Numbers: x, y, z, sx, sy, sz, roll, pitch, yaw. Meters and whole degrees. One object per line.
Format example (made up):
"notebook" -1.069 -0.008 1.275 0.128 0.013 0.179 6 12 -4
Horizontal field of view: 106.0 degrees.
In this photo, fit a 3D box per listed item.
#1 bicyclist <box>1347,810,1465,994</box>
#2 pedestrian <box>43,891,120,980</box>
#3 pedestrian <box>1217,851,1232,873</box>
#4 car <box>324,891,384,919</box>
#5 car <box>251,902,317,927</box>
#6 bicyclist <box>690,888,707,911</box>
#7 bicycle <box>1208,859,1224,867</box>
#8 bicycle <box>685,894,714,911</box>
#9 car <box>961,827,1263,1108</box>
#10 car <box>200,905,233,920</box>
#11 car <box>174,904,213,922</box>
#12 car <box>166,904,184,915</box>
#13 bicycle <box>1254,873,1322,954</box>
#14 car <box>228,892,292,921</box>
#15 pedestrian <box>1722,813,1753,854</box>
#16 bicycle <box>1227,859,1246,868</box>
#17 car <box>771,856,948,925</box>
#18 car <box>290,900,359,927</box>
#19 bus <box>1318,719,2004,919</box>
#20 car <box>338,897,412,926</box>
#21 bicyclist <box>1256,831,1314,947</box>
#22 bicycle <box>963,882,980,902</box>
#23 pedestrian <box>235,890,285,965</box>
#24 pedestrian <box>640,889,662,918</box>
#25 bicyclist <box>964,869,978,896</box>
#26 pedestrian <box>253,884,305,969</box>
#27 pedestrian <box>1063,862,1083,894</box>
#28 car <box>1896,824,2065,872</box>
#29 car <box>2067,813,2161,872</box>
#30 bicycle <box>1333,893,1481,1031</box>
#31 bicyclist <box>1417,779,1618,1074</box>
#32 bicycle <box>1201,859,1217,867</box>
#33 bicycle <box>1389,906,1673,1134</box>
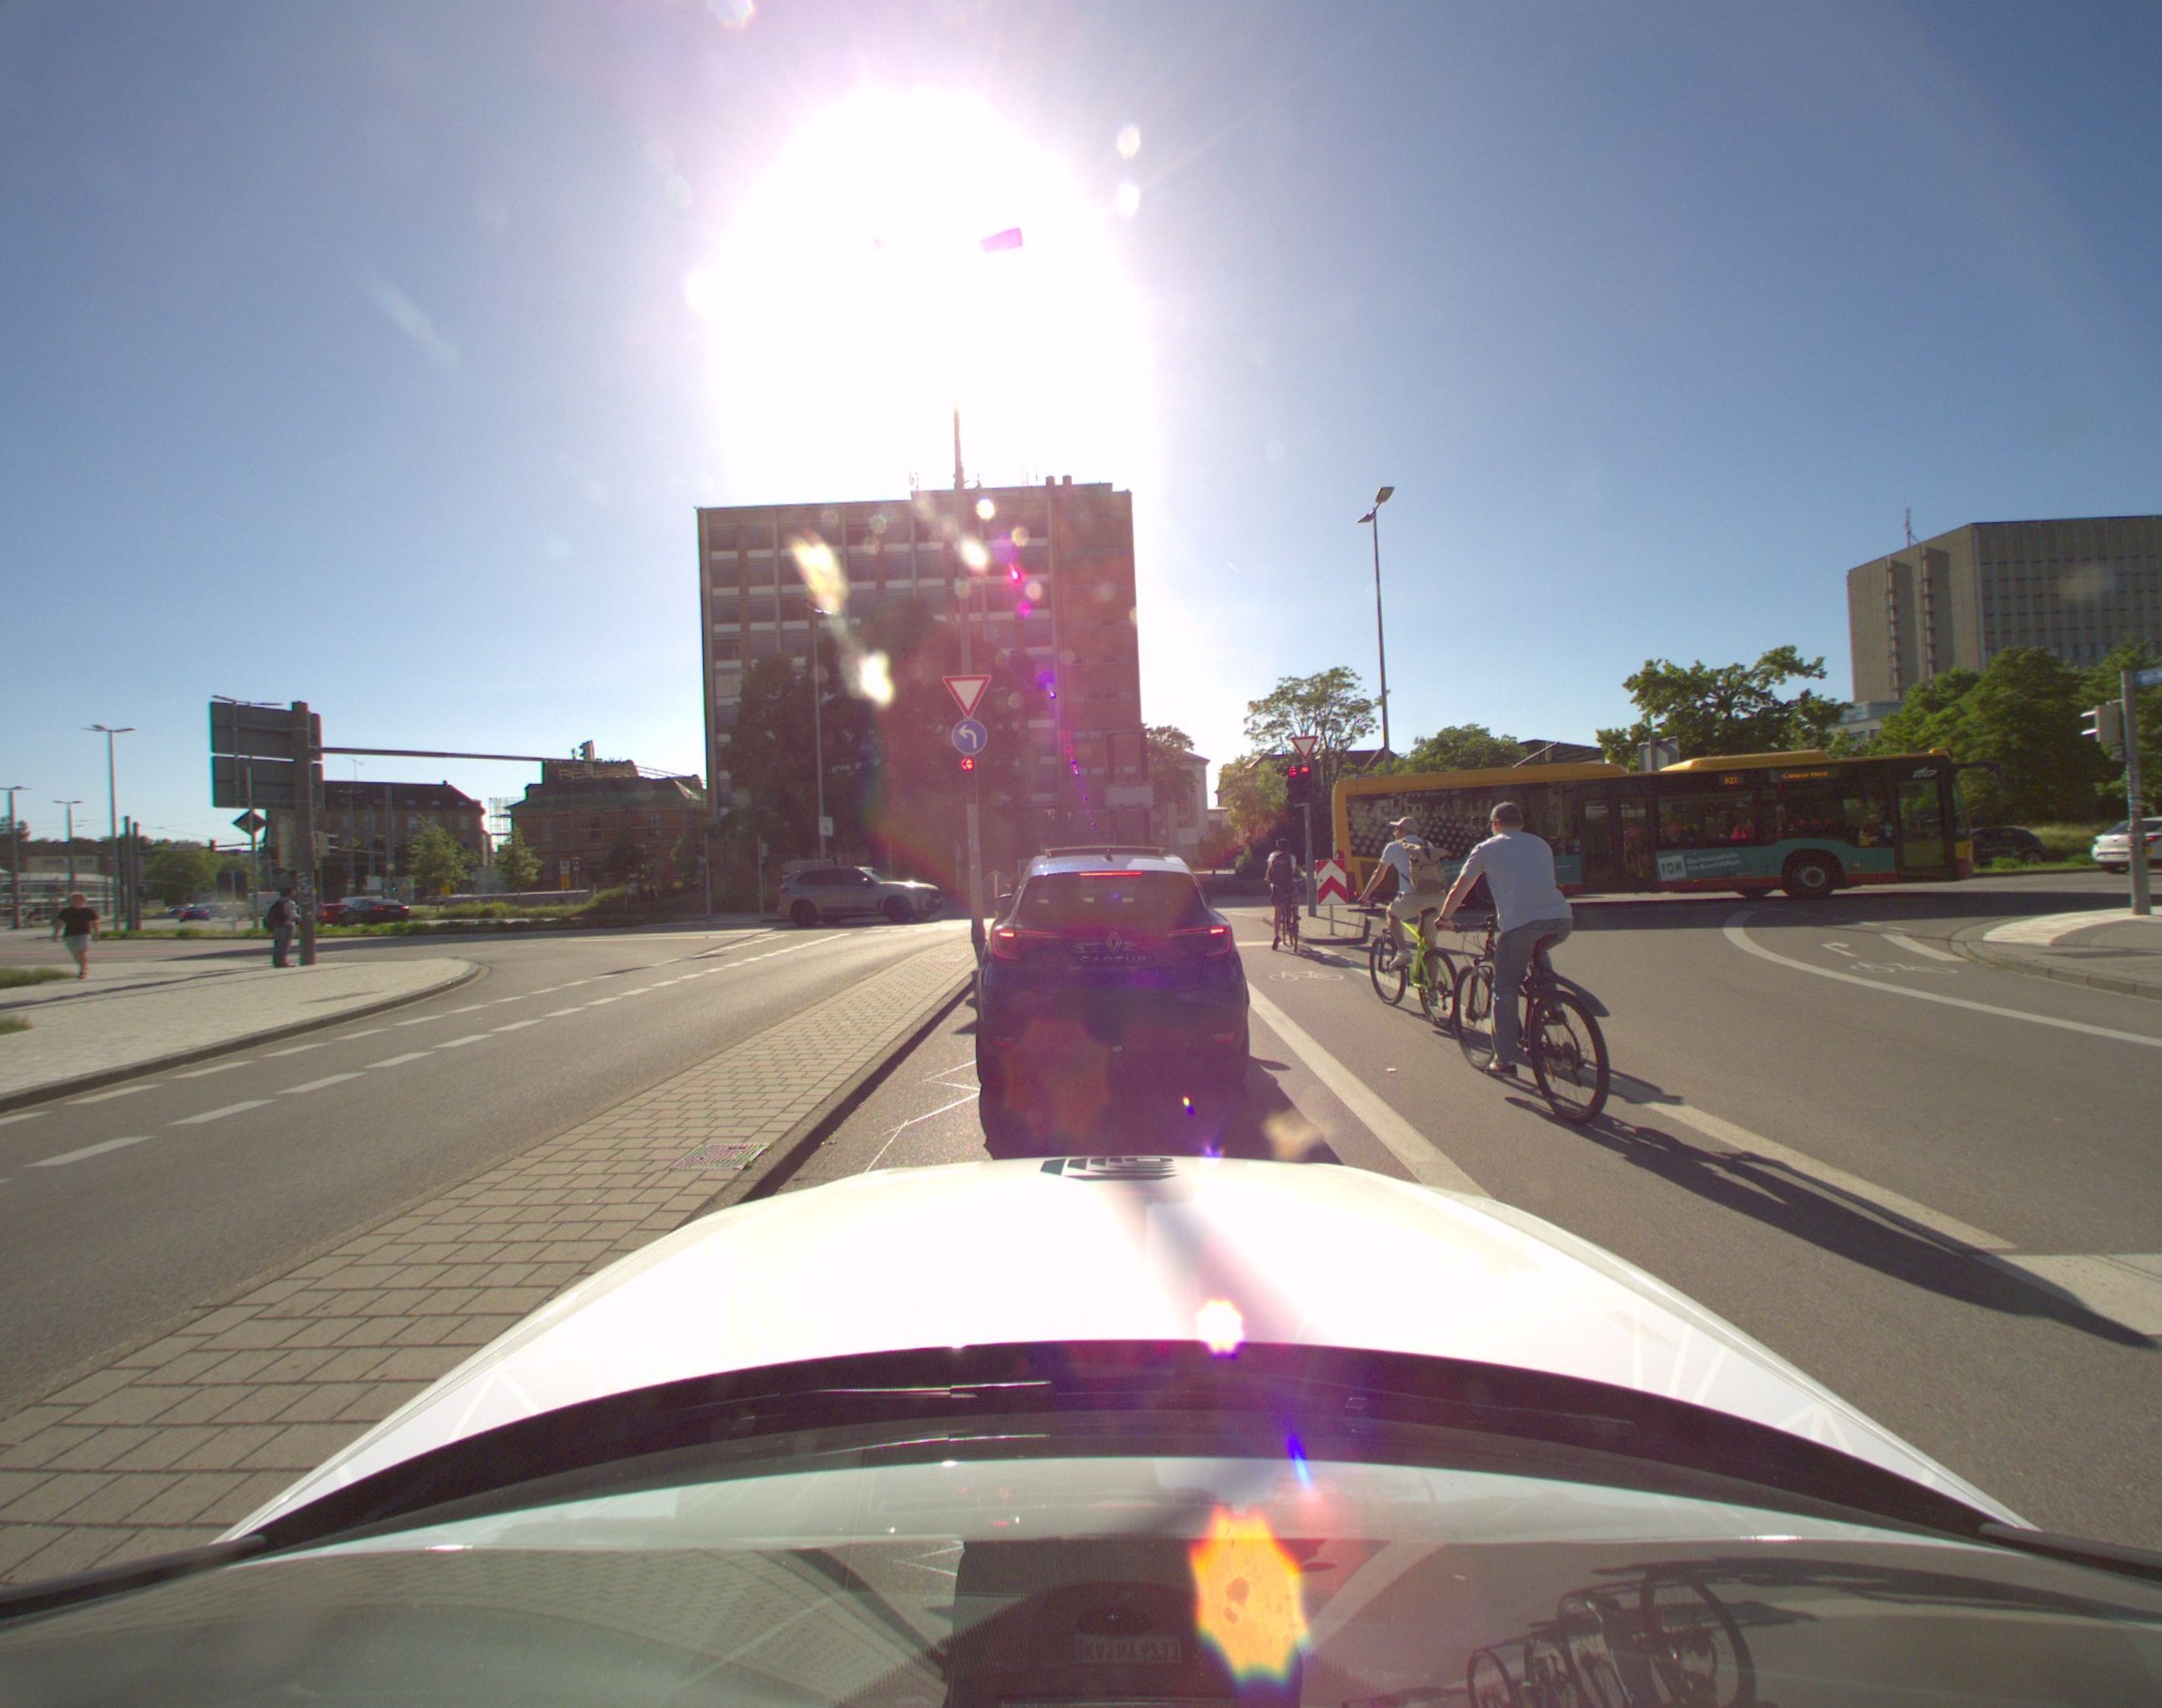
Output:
"bicyclist" 2.969 0.415 7.547 0.672 1.583 1.081 0 0 1
"pedestrian" -21.833 1.761 17.799 0.856 1.845 0.847 -3 -1 25
"pedestrian" 13.528 0.756 77.004 1.152 2.013 1.165 -2 -1 2
"car" -56.751 4.001 63.556 4.951 2.013 2.085 -3 -1 31
"car" -53.587 4.082 54.755 3.771 1.518 2.012 -3 -1 27
"bicyclist" -24.491 2.898 52.165 0.630 1.412 0.653 -3 -1 28
"bicycle" 15.693 1.056 94.646 1.764 0.898 0.766 -2 -1 2
"bicycle" -24.449 3.108 52.171 1.848 0.958 0.627 -3 -1 26
"car" 0.219 0.679 6.798 1.788 1.655 3.853 -1 0 1
"car" -95.211 6.460 89.660 4.005 1.439 2.079 -3 0 38
"car" -88.183 5.881 80.895 4.795 1.582 2.115 -3 0 37
"car" -163.028 9.985 146.534 3.949 1.673 2.012 -3 -1 42
"bicycle" 3.258 0.905 12.978 0.613 1.138 1.826 -2 0 0
"car" -78.927 5.039 78.272 6.867 2.547 3.032 -3 -1 33
"pedestrian" 33.947 -1.058 42.134 0.891 2.079 0.814 -2 -1 5
"bicycle" 15.802 0.946 82.835 1.770 0.823 0.763 -2 -1 -9
"car" -6.690 1.087 24.785 4.697 1.861 2.011 -3 -1 10
"car" -47.967 3.774 51.640 3.771 1.518 2.012 -3 -1 27
"bus" 11.916 -0.555 18.604 12.330 3.570 3.263 -2 0 15
"car" -42.393 3.447 48.906 3.771 1.518 2.012 -3 -1 27
"bicyclist" 3.240 0.542 13.021 0.674 1.785 0.939 -1 -1 0
"bicycle" -5.950 2.072 44.046 0.699 1.007 1.859 -3 -3 -13
"pedestrian" -19.249 1.713 19.088 0.627 1.697 0.608 -3 -1 25
"pedestrian" -30.519 3.502 57.826 0.816 2.013 1.021 -3 -1 25
"bicyclist" -5.970 1.558 44.078 0.648 1.412 0.635 -2 -3 -14
"pedestrian" -18.177 1.638 18.459 0.673 1.855 0.608 -3 -1 25
"pedestrian" -0.483 1.390 47.494 0.926 1.855 0.809 -3 -1 11
"car" 33.522 -0.223 30.468 3.964 1.570 1.840 -2 -1 8
"car" 27.479 -0.350 19.996 3.963 1.373 1.764 -2 0 9
"bicycle" 2.976 0.935 7.647 0.669 1.050 1.844 0 0 1
"bicyclist" 2.708 0.420 5.151 0.737 1.674 0.865 -2 -1 0
"bicycle" 15.548 1.110 99.017 1.764 0.893 0.766 -2 -1 2
"bicycle" 2.729 0.935 5.242 0.745 1.050 1.903 -3 0 0
